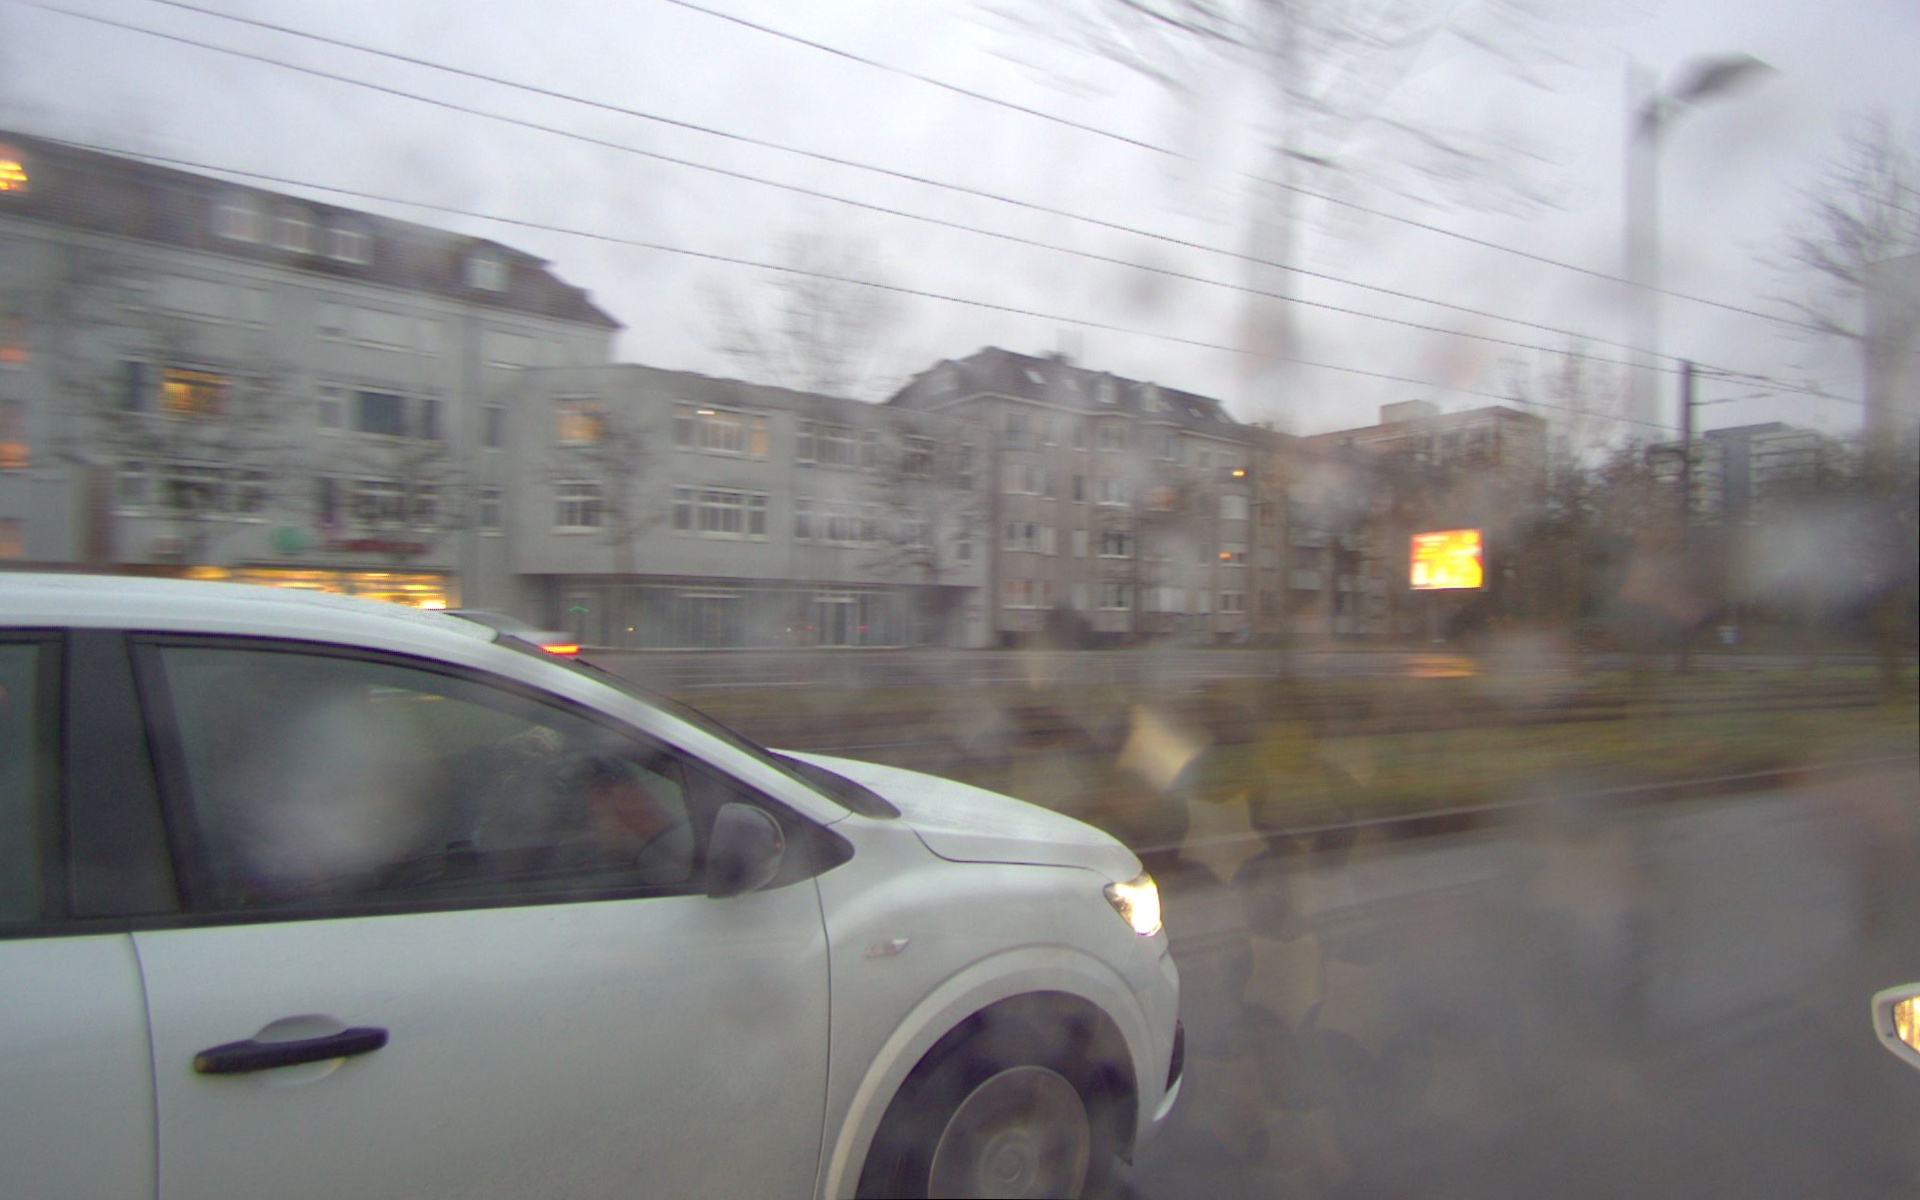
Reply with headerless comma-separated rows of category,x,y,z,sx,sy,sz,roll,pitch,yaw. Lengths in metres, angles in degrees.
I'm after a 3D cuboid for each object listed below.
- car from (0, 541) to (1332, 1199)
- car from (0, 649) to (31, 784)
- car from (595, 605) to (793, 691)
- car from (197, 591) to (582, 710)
car,-1.191,0.682,2.248,3.955,1.485,1.699,3,-1,-32
car,-14.205,1.441,12.298,3.966,1.628,1.790,3,-1,-39
car,-5.852,1.011,22.184,3.949,1.751,1.800,1,-1,-28
car,-8.535,0.760,15.336,4.892,1.549,1.575,3,-1,-39
